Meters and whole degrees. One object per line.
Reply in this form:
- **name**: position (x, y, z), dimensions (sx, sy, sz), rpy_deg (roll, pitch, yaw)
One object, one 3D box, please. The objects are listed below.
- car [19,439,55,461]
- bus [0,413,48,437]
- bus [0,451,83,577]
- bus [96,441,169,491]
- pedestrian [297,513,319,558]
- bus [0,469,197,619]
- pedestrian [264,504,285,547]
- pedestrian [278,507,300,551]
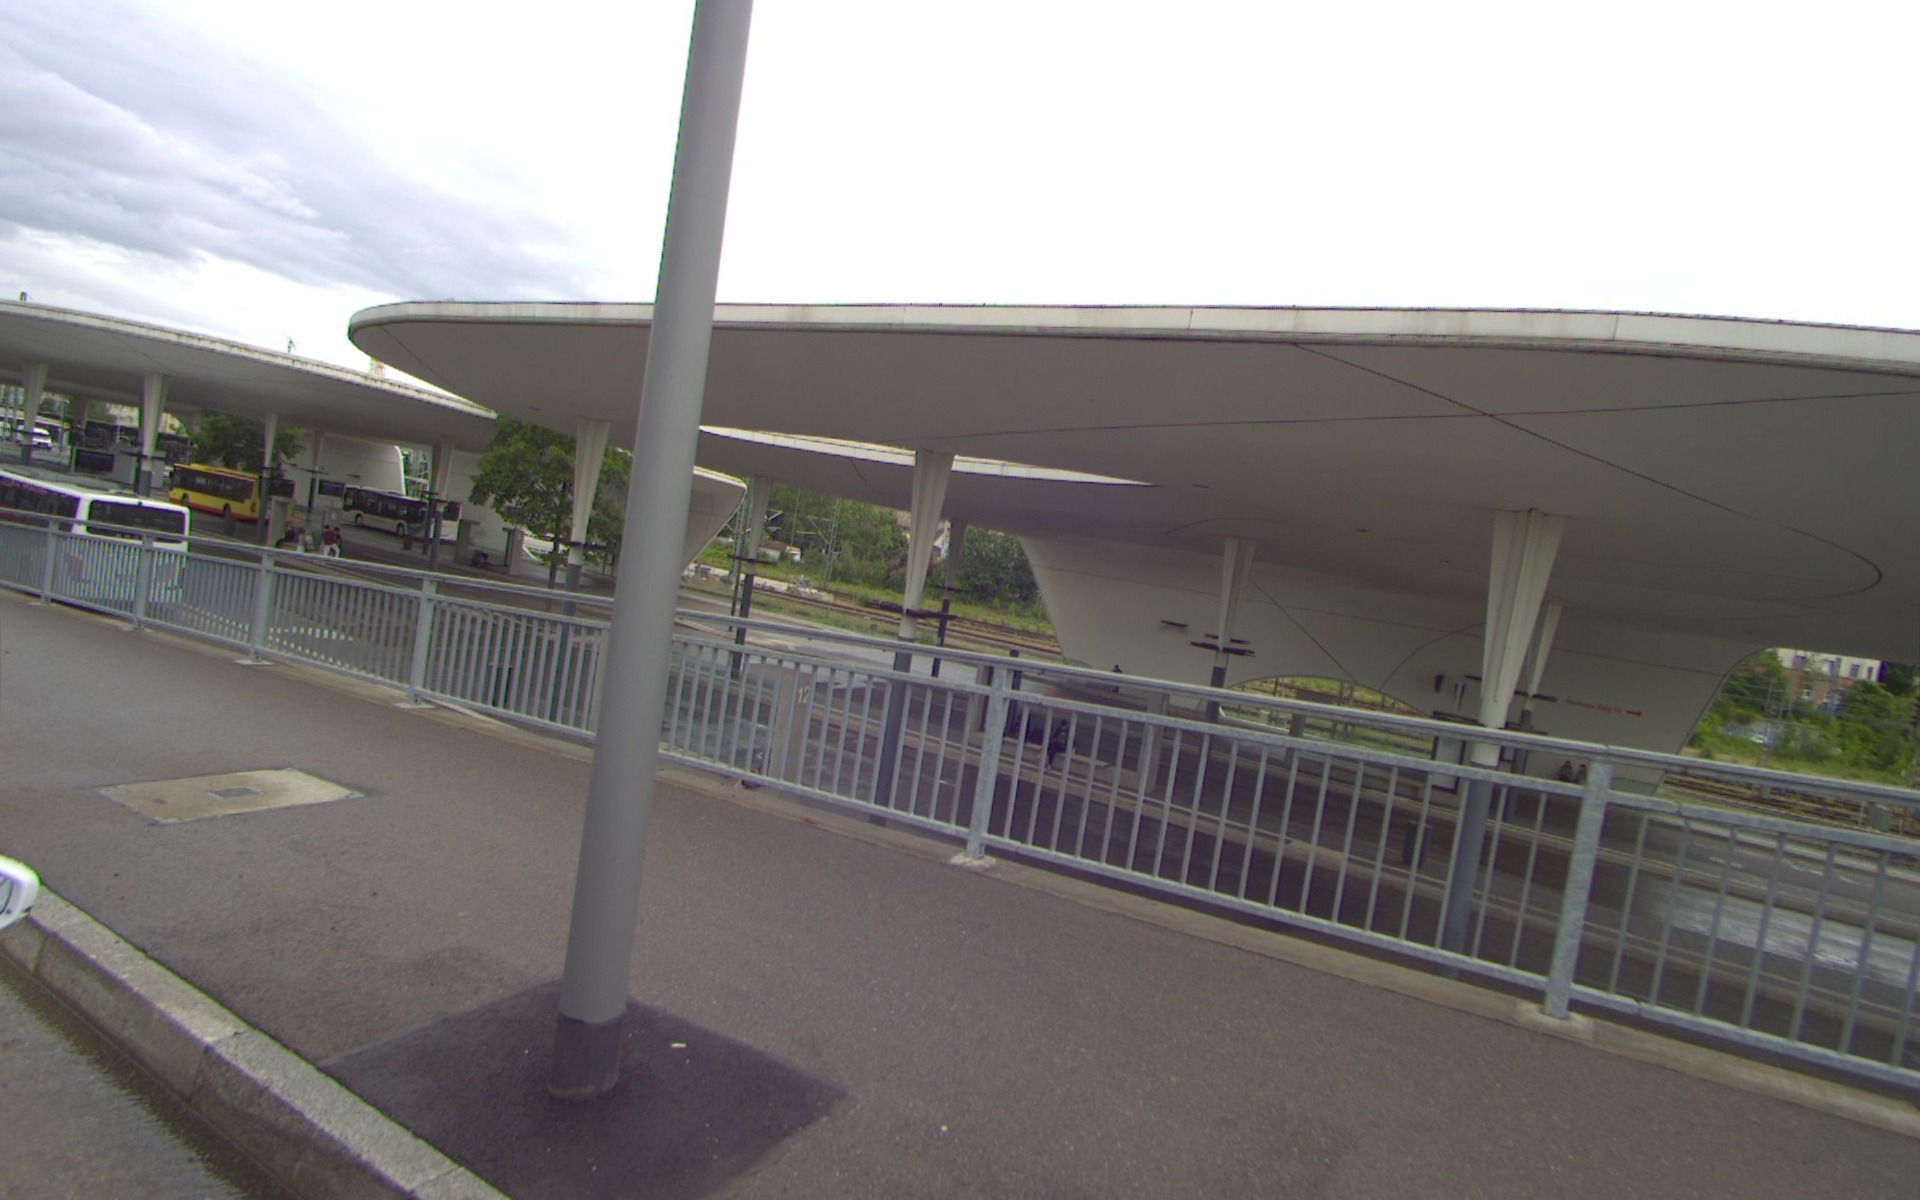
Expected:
- **car**: position (-107.142, -17.393, 116.762), dimensions (3.933, 2.040, 1.995), rpy_deg (9, 2, 31)
- **bus**: position (-117.735, -21.849, 122.107), dimensions (2.132, 2.039, 10.184), rpy_deg (8, 1, 29)
- **bus**: position (-31.132, -3.014, 31.862), dimensions (6.948, 3.279, 2.649), rpy_deg (12, 4, 28)
- **bus**: position (-67.650, -10.990, 82.188), dimensions (6.879, 3.251, 2.601), rpy_deg (9, 3, 34)
- **pedestrian**: position (-30.740, -3.039, 47.417), dimensions (0.475, 2.040, 0.560), rpy_deg (8, 2, 34)
- **bus**: position (-25.086, -1.665, 28.553), dimensions (6.948, 3.279, 2.649), rpy_deg (10, 3, 28)
- **pedestrian**: position (-33.857, -3.692, 49.693), dimensions (0.570, 2.040, 0.544), rpy_deg (8, 2, 32)
- **pedestrian**: position (-32.597, -3.433, 48.890), dimensions (0.570, 2.040, 0.544), rpy_deg (8, 2, 32)
